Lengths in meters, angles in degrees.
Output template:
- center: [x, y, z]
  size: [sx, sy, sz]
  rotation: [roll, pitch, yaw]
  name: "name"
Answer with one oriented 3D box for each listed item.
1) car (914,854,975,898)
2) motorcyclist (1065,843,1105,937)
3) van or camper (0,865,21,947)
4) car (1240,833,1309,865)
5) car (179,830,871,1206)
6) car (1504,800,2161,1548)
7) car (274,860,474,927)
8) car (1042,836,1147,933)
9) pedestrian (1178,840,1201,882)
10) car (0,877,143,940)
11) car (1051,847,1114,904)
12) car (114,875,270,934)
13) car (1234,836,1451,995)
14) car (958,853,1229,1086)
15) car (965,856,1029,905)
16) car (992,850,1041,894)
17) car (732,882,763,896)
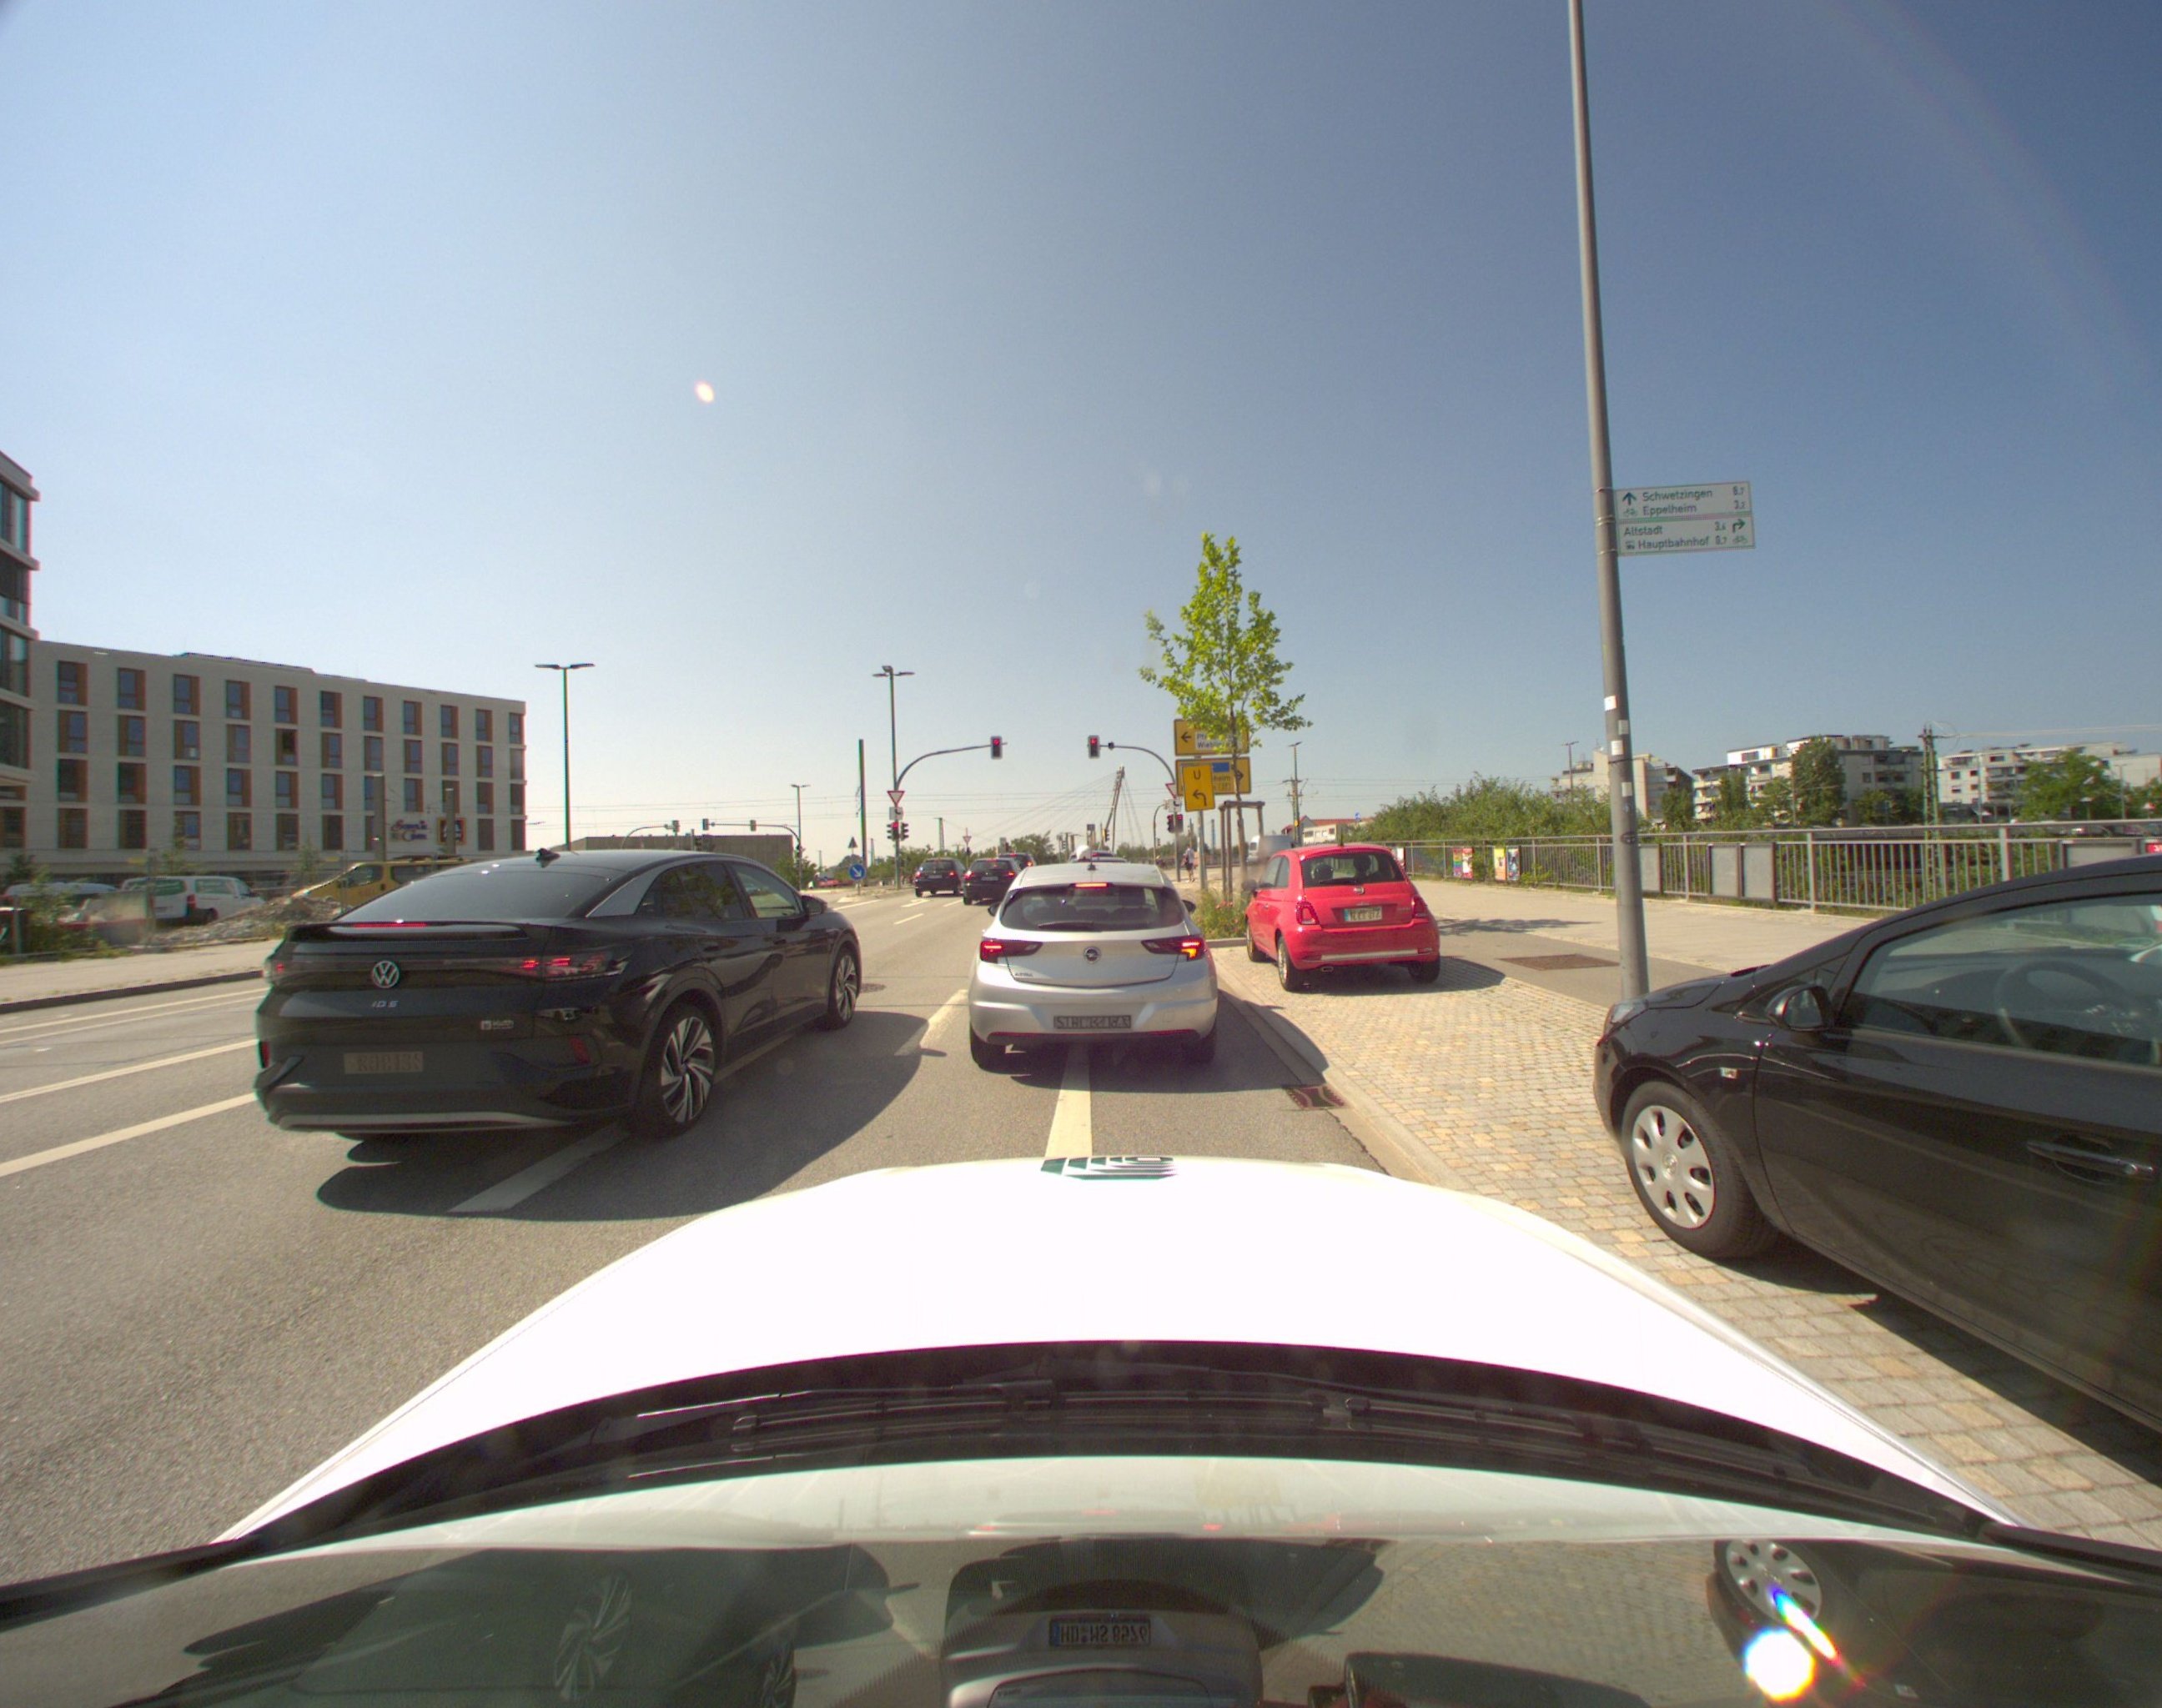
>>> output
- center: [-5.195, 0.812, 31.323]
  size: [1.591, 1.547, 3.764]
  rotation: [0, -1, 2]
  name: "car"
- center: [0.075, 0.543, 12.434]
  size: [0.579, 1.389, 0.707]
  rotation: [0, -1, 1]
  name: "motorcyclist"
- center: [-36.462, 1.717, 25.288]
  size: [2.318, 2.735, 4.944]
  rotation: [0, -1, -26]
  name: "van or camper"
- center: [15.342, -0.397, 64.644]
  size: [5.002, 2.376, 1.777]
  rotation: [-1, -1, -11]
  name: "car"
- center: [-3.013, 0.740, 5.770]
  size: [1.795, 1.641, 4.367]
  rotation: [0, -1, 2]
  name: "car"
- center: [2.877, 0.578, 1.916]
  size: [1.654, 1.426, 4.000]
  rotation: [-4, -1, 1]
  name: "car"
- center: [-22.742, 1.191, 26.368]
  size: [1.964, 1.962, 4.655]
  rotation: [-1, -1, 40]
  name: "car"
- center: [0.322, 0.562, 17.700]
  size: [1.986, 1.820, 4.404]
  rotation: [0, 0, 2]
  name: "car"
- center: [4.919, 0.309, 36.918]
  size: [0.641, 1.836, 0.803]
  rotation: [-3, -1, 35]
  name: "pedestrian"
- center: [-33.708, 1.751, 27.178]
  size: [1.794, 1.857, 3.818]
  rotation: [0, -1, -26]
  name: "car"
- center: [0.107, 0.571, 24.499]
  size: [1.717, 1.563, 4.002]
  rotation: [0, 1, 2]
  name: "car"
- center: [-31.052, 1.689, 28.656]
  size: [1.873, 1.774, 4.619]
  rotation: [0, -1, -22]
  name: "car"
- center: [2.923, 0.608, 9.803]
  size: [1.603, 1.496, 3.355]
  rotation: [-4, 0, 3]
  name: "car"
- center: [0.063, 0.753, 7.230]
  size: [1.738, 1.478, 3.998]
  rotation: [0, -1, -1]
  name: "car"
- center: [-2.603, 0.788, 25.918]
  size: [1.569, 1.434, 3.786]
  rotation: [0, -1, 1]
  name: "car"
- center: [-2.465, 0.684, 31.821]
  size: [1.644, 1.615, 3.819]
  rotation: [0, -1, 0]
  name: "car"
- center: [-33.201, 3.499, 81.036]
  size: [1.831, 1.331, 3.954]
  rotation: [0, -2, -38]
  name: "car"
